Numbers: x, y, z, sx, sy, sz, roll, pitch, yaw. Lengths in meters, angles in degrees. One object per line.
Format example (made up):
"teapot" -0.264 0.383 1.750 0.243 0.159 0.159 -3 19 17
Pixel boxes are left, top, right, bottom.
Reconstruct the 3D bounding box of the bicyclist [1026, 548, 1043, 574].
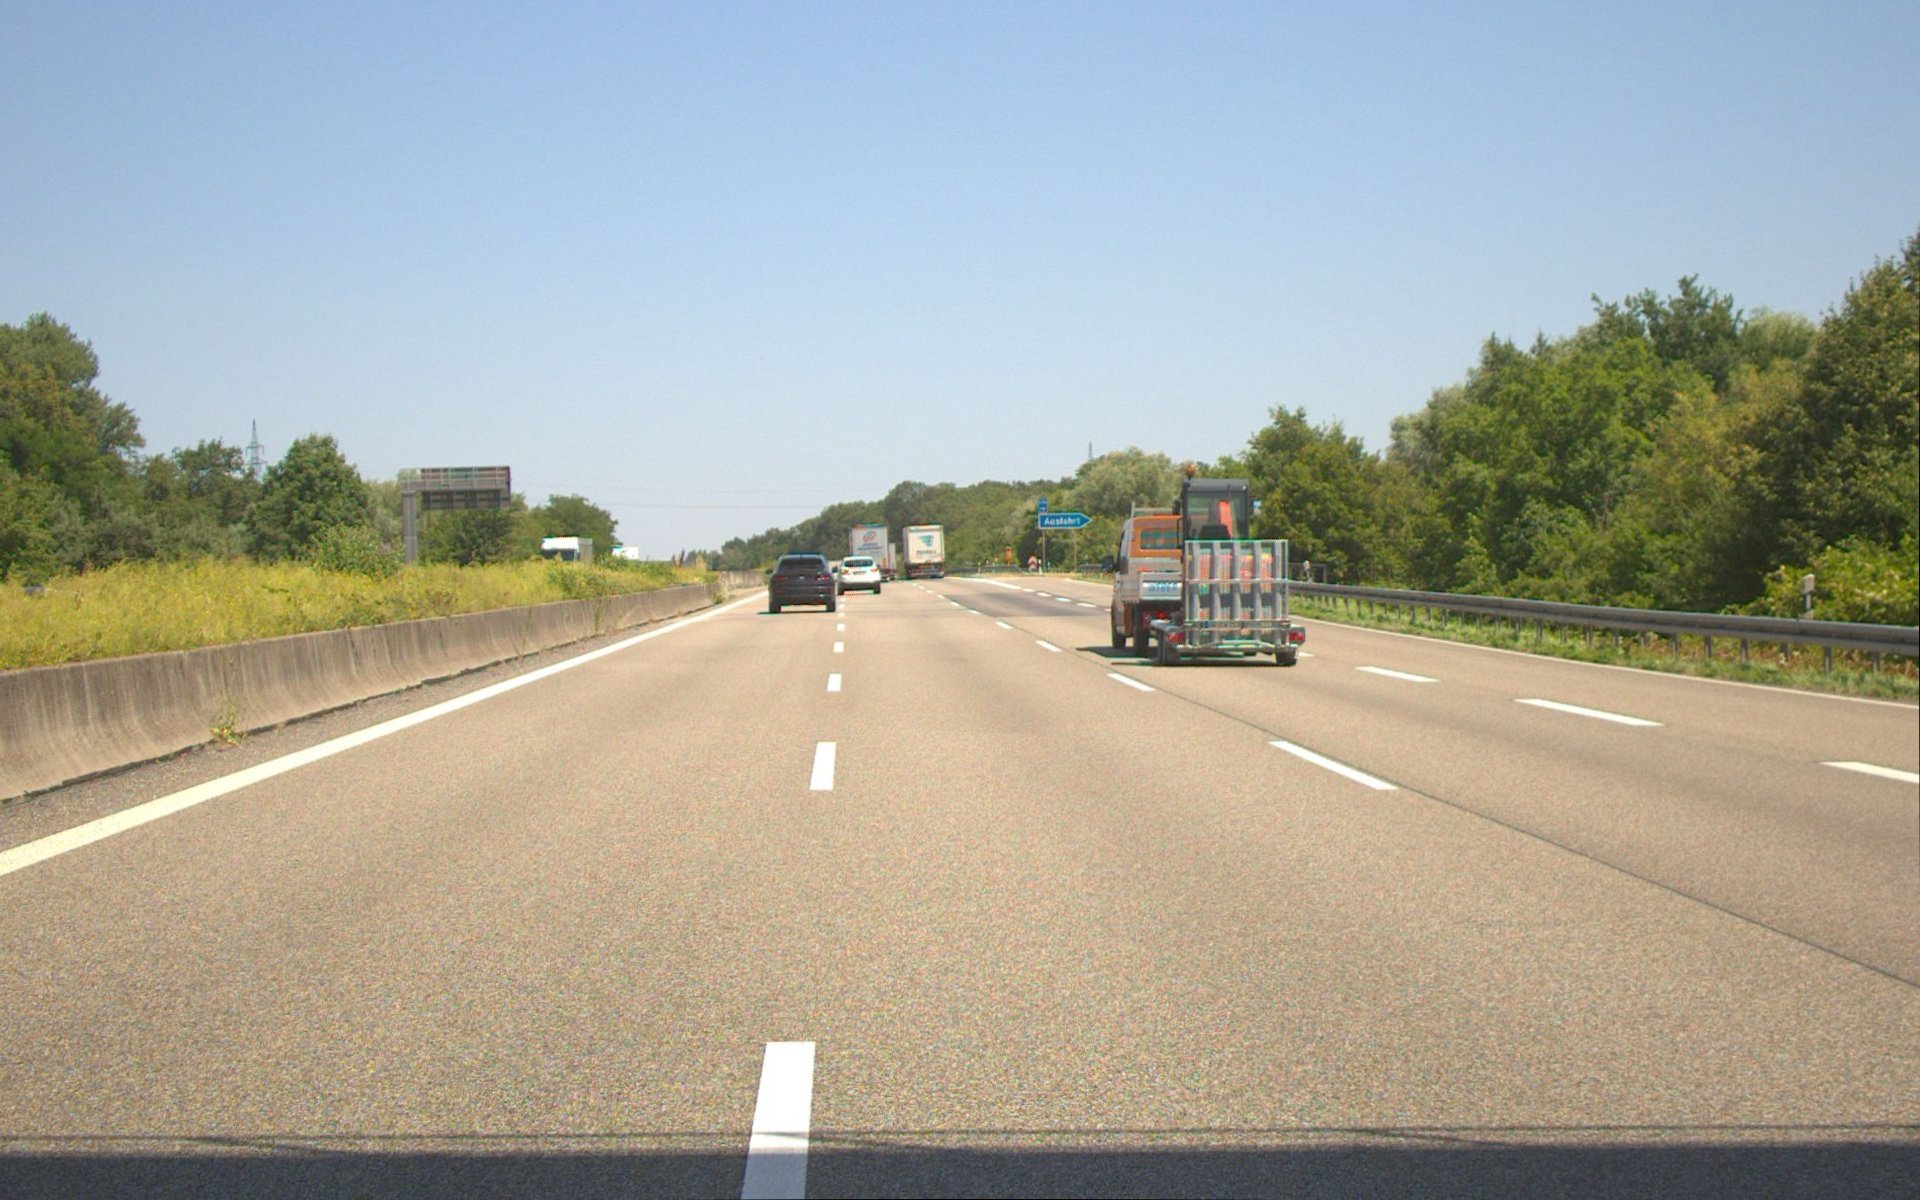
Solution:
"bicyclist" 4.585 -2.423 212.067 0.960 1.590 0.807 1 0 7

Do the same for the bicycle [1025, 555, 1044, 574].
"bicycle" 4.587 -2.213 211.969 0.960 1.153 2.606 1 1 6

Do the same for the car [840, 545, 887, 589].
"car" -4.226 -1.460 150.574 1.993 1.868 4.000 -1 1 -2

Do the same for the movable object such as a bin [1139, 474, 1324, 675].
"movable object such as a bin" 4.021 -0.393 51.728 2.174 2.806 4.761 -2 1 -2

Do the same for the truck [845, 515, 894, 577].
"truck" -6.269 -3.672 236.621 3.229 4.188 8.467 0 1 -3

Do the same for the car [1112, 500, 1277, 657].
"car" 3.850 -0.376 57.762 1.993 2.397 7.227 -2 1 -2

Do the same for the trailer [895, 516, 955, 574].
"trailer" -2.623 -4.022 252.848 3.367 4.128 9.093 1 1 -7

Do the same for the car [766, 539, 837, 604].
"car" -4.748 -0.857 103.597 1.993 1.868 4.000 -2 1 -2
